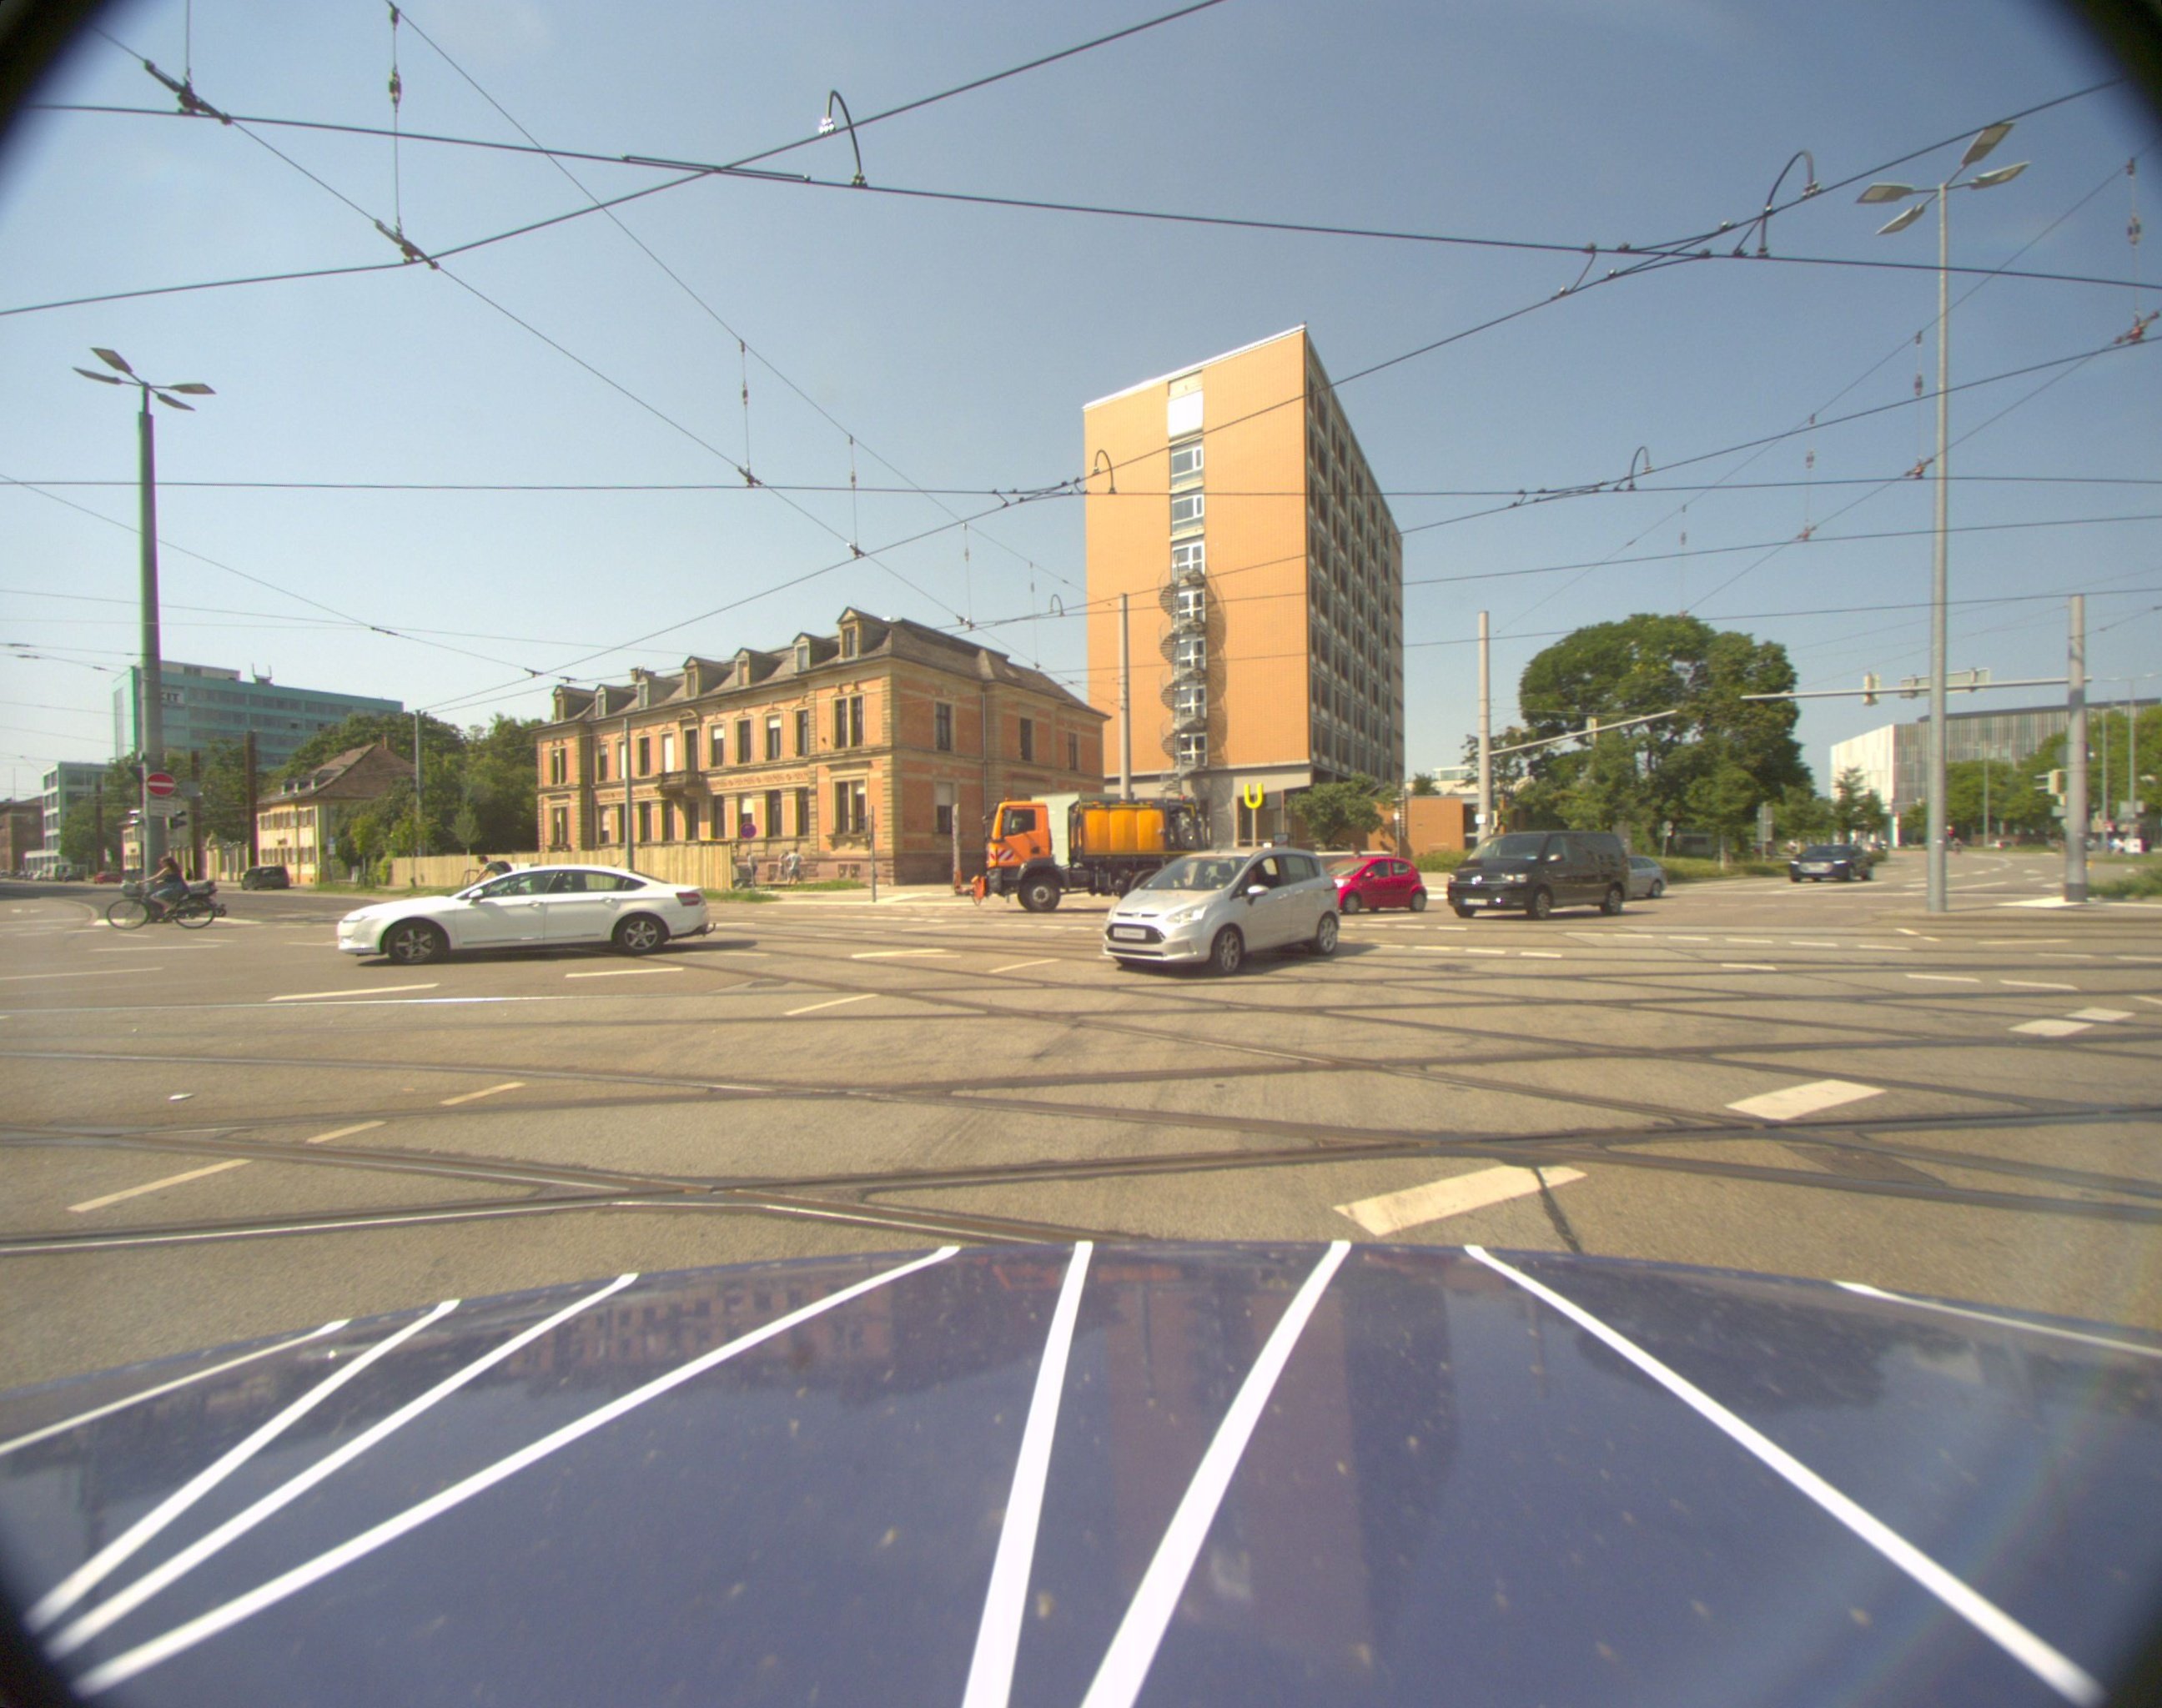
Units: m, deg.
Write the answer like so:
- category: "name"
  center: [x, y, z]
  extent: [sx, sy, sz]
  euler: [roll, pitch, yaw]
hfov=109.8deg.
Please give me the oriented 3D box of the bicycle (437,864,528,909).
- category: "bicycle"
  center: [-16.660, 0.876, 21.190]
  extent: [0.711, 1.105, 1.859]
  euler: [1, 3, 44]

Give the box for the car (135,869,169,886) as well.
- category: "car"
  center: [-102.044, 2.588, 83.447]
  extent: [3.989, 1.674, 2.004]
  euler: [-3, -1, 35]

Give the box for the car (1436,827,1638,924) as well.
- category: "car"
  center: [10.408, 0.394, 17.241]
  extent: [4.893, 1.919, 1.896]
  euler: [-1, 1, -32]

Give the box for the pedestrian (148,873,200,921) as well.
- category: "pedestrian"
  center: [-26.308, 1.235, 22.060]
  extent: [0.818, 1.343, 0.717]
  euler: [-1, 1, -38]

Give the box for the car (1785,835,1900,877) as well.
- category: "car"
  center: [32.597, 0.070, 32.519]
  extent: [4.705, 1.631, 1.996]
  euler: [-2, 1, -25]

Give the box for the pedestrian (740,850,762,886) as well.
- category: "pedestrian"
  center: [-15.487, 0.659, 35.626]
  extent: [0.685, 1.662, 0.684]
  euler: [-1, 1, 1]

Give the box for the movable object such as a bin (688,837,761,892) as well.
- category: "movable object such as a bin"
  center: [-18.260, 0.517, 38.832]
  extent: [4.443, 2.656, 1.822]
  euler: [-1, 1, 43]

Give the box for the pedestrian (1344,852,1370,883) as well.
- category: "pedestrian"
  center: [12.648, 0.594, 34.800]
  extent: [0.850, 1.386, 0.784]
  euler: [-2, 1, -44]

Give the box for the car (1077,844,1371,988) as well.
- category: "car"
  center: [2.158, 0.686, 10.631]
  extent: [4.369, 1.586, 1.688]
  euler: [-2, 1, -41]

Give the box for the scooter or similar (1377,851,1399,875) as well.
- category: "scooter or similar"
  center: [15.500, 0.447, 38.337]
  extent: [1.147, 1.150, 0.442]
  euler: [-1, 1, -31]

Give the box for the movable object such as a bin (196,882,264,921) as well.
- category: "movable object such as a bin"
  center: [-25.303, 1.391, 22.598]
  extent: [1.038, 1.078, 0.820]
  euler: [-2, 0, -4]

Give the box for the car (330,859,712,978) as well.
- category: "car"
  center: [-8.494, 0.895, 12.120]
  extent: [4.608, 1.609, 1.768]
  euler: [0, 0, -23]

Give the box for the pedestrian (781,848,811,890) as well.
- category: "pedestrian"
  center: [-12.576, 0.656, 33.545]
  extent: [1.038, 1.802, 0.684]
  euler: [-1, 1, 1]

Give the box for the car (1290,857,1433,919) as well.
- category: "car"
  center: [7.172, 0.823, 19.428]
  extent: [3.363, 1.400, 1.514]
  euler: [-1, 0, -26]

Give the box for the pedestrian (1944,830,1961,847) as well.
- category: "pedestrian"
  center: [92.651, -1.655, 80.775]
  extent: [1.119, 1.775, 0.966]
  euler: [-2, 1, -31]

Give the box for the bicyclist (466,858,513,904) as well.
- category: "bicyclist"
  center: [-16.556, 0.741, 21.268]
  extent: [1.099, 1.227, 0.866]
  euler: [-1, 1, 44]

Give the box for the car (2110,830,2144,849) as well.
- category: "car"
  center: [91.437, -1.267, 66.404]
  extent: [3.712, 1.511, 1.675]
  euler: [-1, 0, -35]

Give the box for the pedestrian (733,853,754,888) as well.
- category: "pedestrian"
  center: [-16.309, 0.781, 36.756]
  extent: [0.685, 1.662, 0.684]
  euler: [-1, 1, 1]

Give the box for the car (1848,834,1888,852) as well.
- category: "car"
  center: [88.644, -1.265, 85.598]
  extent: [4.005, 1.783, 1.996]
  euler: [-2, -1, -26]

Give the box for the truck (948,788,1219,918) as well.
- category: "truck"
  center: [-0.041, -0.039, 21.858]
  extent: [7.190, 3.210, 3.041]
  euler: [-2, -1, -7]

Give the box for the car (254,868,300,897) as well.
- category: "car"
  center: [-61.234, 2.169, 57.838]
  extent: [3.989, 2.001, 2.004]
  euler: [-3, -1, 38]

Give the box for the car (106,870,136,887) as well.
- category: "car"
  center: [-117.021, 2.994, 92.594]
  extent: [3.989, 1.892, 2.004]
  euler: [-3, -1, 35]

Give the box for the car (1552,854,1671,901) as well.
- category: "car"
  center: [16.546, 0.684, 23.683]
  extent: [3.512, 1.331, 1.514]
  euler: [-1, 1, -26]

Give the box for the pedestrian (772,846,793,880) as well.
- category: "pedestrian"
  center: [-14.497, 0.426, 36.898]
  extent: [0.685, 1.662, 0.684]
  euler: [-1, 1, 1]

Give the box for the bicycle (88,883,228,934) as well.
- category: "bicycle"
  center: [-21.436, 1.254, 17.693]
  extent: [2.130, 1.105, 0.440]
  euler: [0, 0, -22]

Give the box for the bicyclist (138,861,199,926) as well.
- category: "bicyclist"
  center: [-21.255, 0.901, 17.719]
  extent: [0.645, 1.472, 0.657]
  euler: [-1, 1, -23]
